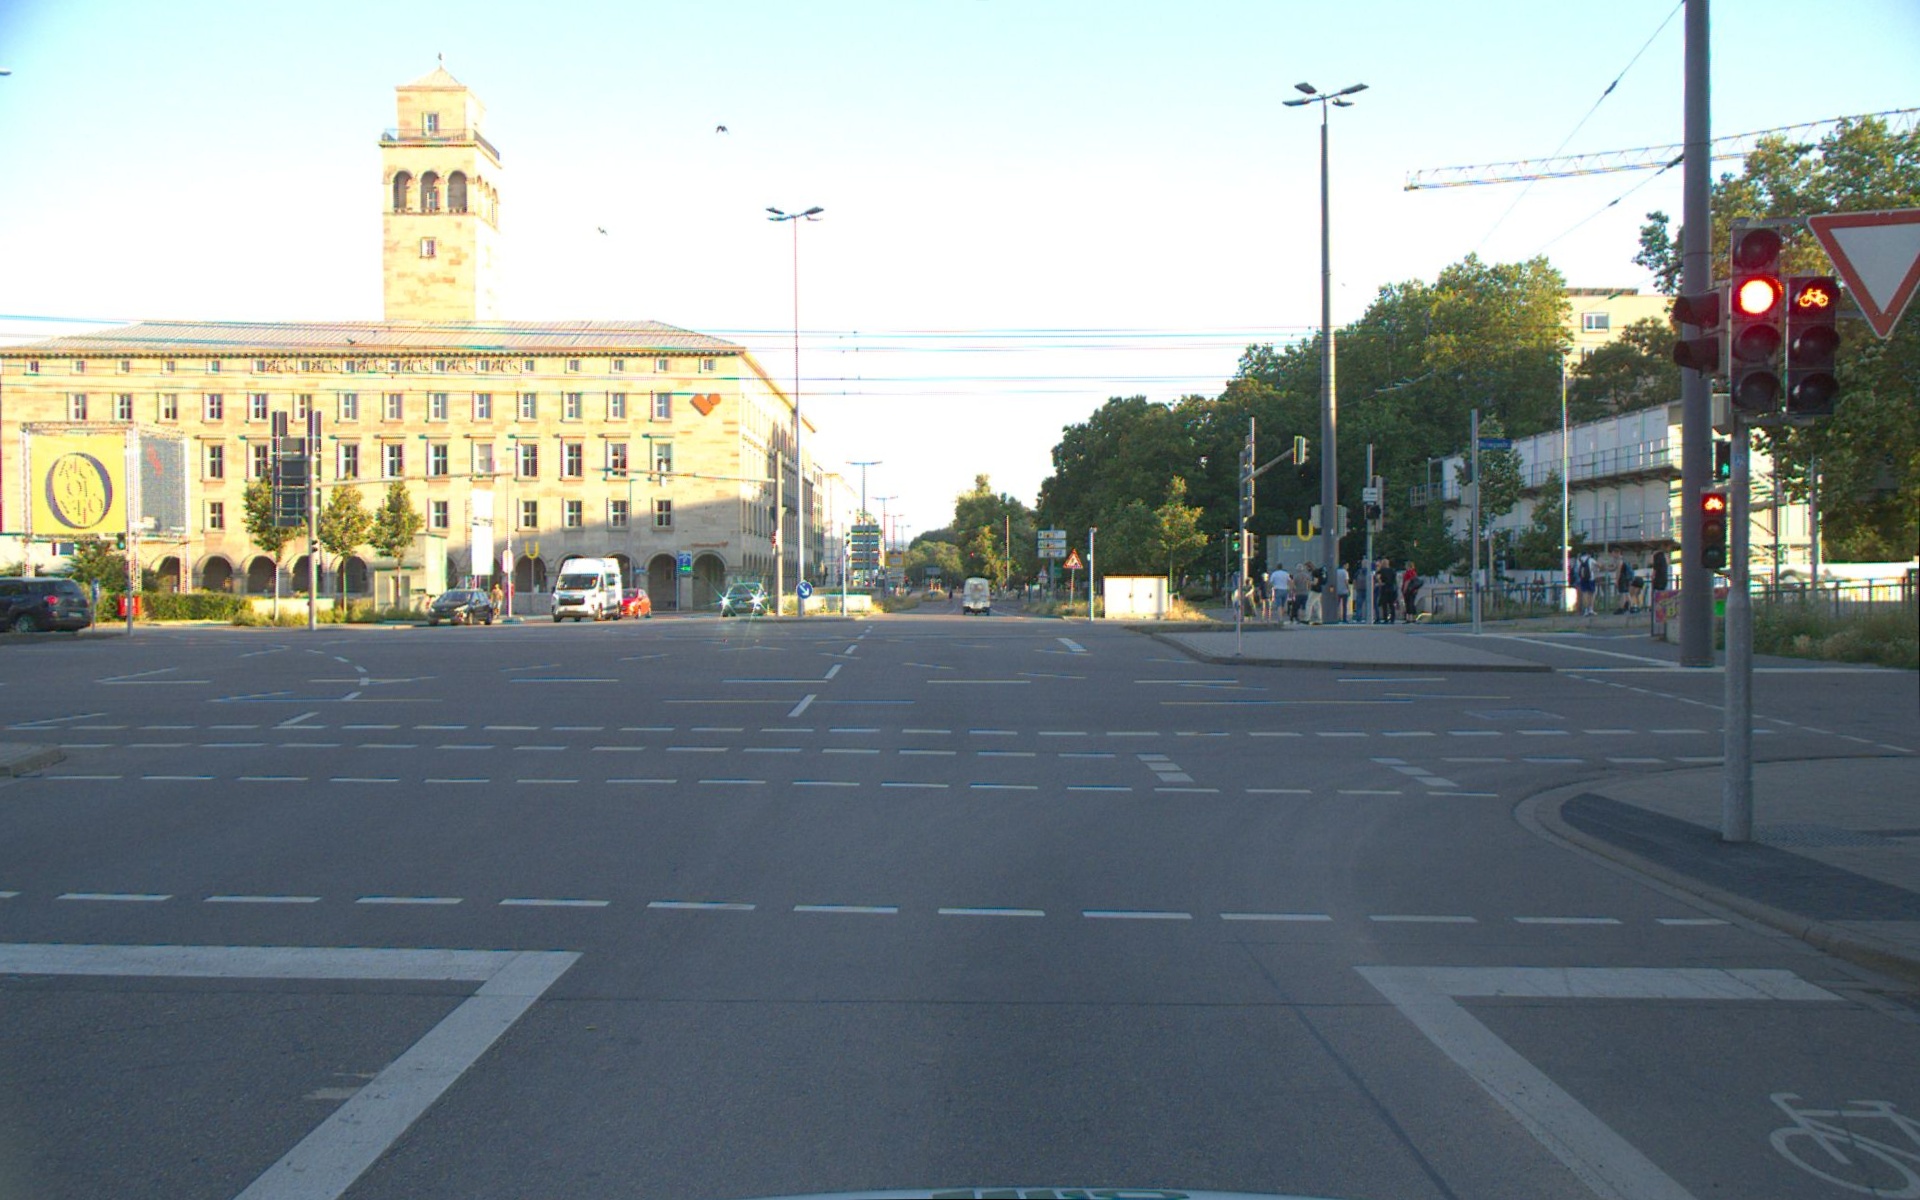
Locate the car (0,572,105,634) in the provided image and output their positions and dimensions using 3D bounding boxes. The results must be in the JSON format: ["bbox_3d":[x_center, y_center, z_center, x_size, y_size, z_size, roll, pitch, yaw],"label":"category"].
[{"bbox_3d":[-25.770,0.073,45.452,4.035,1.632,1.745,0,1,20],"label":"car"}]

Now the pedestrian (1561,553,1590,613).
[{"bbox_3d":[16.763,-0.454,45.039,0.559,1.620,0.536,-1,0,-1],"label":"pedestrian"}]

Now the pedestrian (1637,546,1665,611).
[{"bbox_3d":[18.897,-0.577,45.243,0.653,1.755,0.712,0,1,27],"label":"pedestrian"}]

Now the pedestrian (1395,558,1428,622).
[{"bbox_3d":[12.608,-0.274,46.201,0.826,1.764,0.706,0,1,11],"label":"pedestrian"}]

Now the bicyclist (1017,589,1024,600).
[{"bbox_3d":[8.252,-0.711,225.893,0.816,1.489,0.658,-1,1,-14],"label":"bicyclist"}]

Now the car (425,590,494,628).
[{"bbox_3d":[-21.137,0.366,69.960,1.786,1.491,4.156,-1,1,-2],"label":"car"}]

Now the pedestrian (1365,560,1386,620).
[{"bbox_3d":[11.888,-0.294,47.308,0.560,1.708,0.639,0,1,13],"label":"pedestrian"}]

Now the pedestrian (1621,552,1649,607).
[{"bbox_3d":[18.071,-0.556,44.278,0.662,1.466,0.714,0,1,21],"label":"pedestrian"}]

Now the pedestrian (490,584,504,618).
[{"bbox_3d":[-24.585,0.036,87.763,0.609,1.774,0.459,1,-1,-6],"label":"pedestrian"}]

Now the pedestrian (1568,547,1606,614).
[{"bbox_3d":[16.620,-0.528,43.851,0.700,1.755,0.665,-1,1,-18],"label":"pedestrian"}]

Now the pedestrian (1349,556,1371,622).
[{"bbox_3d":[11.084,-0.300,45.828,0.560,1.822,0.639,0,1,13],"label":"pedestrian"}]

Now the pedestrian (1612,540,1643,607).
[{"bbox_3d":[17.598,-0.702,43.613,0.696,1.755,0.669,0,1,16],"label":"pedestrian"}]

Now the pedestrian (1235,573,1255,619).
[{"bbox_3d":[10.492,-0.160,60.913,0.548,1.683,0.902,0,1,20],"label":"pedestrian"}]

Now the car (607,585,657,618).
[{"bbox_3d":[-16.023,0.056,80.935,1.703,1.513,4.000,-1,1,-1],"label":"car"}]

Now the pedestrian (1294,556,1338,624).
[{"bbox_3d":[9.361,-0.271,43.508,0.896,1.755,0.711,-1,1,-14],"label":"pedestrian"}]

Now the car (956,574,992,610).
[{"bbox_3d":[0.681,-0.401,79.924,1.454,1.725,2.971,-1,1,-5],"label":"car"}]

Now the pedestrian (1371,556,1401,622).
[{"bbox_3d":[11.789,-0.302,45.809,0.788,1.822,0.801,0,1,13],"label":"pedestrian"}]

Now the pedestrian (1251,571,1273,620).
[{"bbox_3d":[11.101,-0.176,60.769,0.665,1.788,0.902,0,1,20],"label":"pedestrian"}]

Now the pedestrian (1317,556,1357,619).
[{"bbox_3d":[10.656,-0.366,46.778,0.906,1.755,0.703,-1,1,-38],"label":"pedestrian"}]

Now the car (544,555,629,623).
[{"bbox_3d":[-16.244,-0.486,72.234,2.232,2.824,6.085,-1,1,1],"label":"car"}]

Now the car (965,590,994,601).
[{"bbox_3d":[2.742,-0.630,235.608,3.901,1.513,1.746,0,1,11],"label":"car"}]

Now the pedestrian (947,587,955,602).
[{"bbox_3d":[-1.059,-0.658,194.651,0.888,1.700,1.306,-1,1,-2],"label":"pedestrian"}]

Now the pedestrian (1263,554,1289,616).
[{"bbox_3d":[8.944,-0.424,46.789,0.695,1.755,0.669,0,1,13],"label":"pedestrian"}]

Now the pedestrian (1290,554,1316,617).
[{"bbox_3d":[9.749,-0.409,46.957,0.695,1.755,0.669,0,1,13],"label":"pedestrian"}]

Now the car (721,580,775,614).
[{"bbox_3d":[-9.254,-0.148,72.489,1.785,1.365,4.001,0,1,1],"label":"car"}]

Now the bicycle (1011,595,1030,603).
[{"bbox_3d":[8.212,-0.138,225.850,2.557,0.975,0.513,1,-1,-14],"label":"bicycle"}]
